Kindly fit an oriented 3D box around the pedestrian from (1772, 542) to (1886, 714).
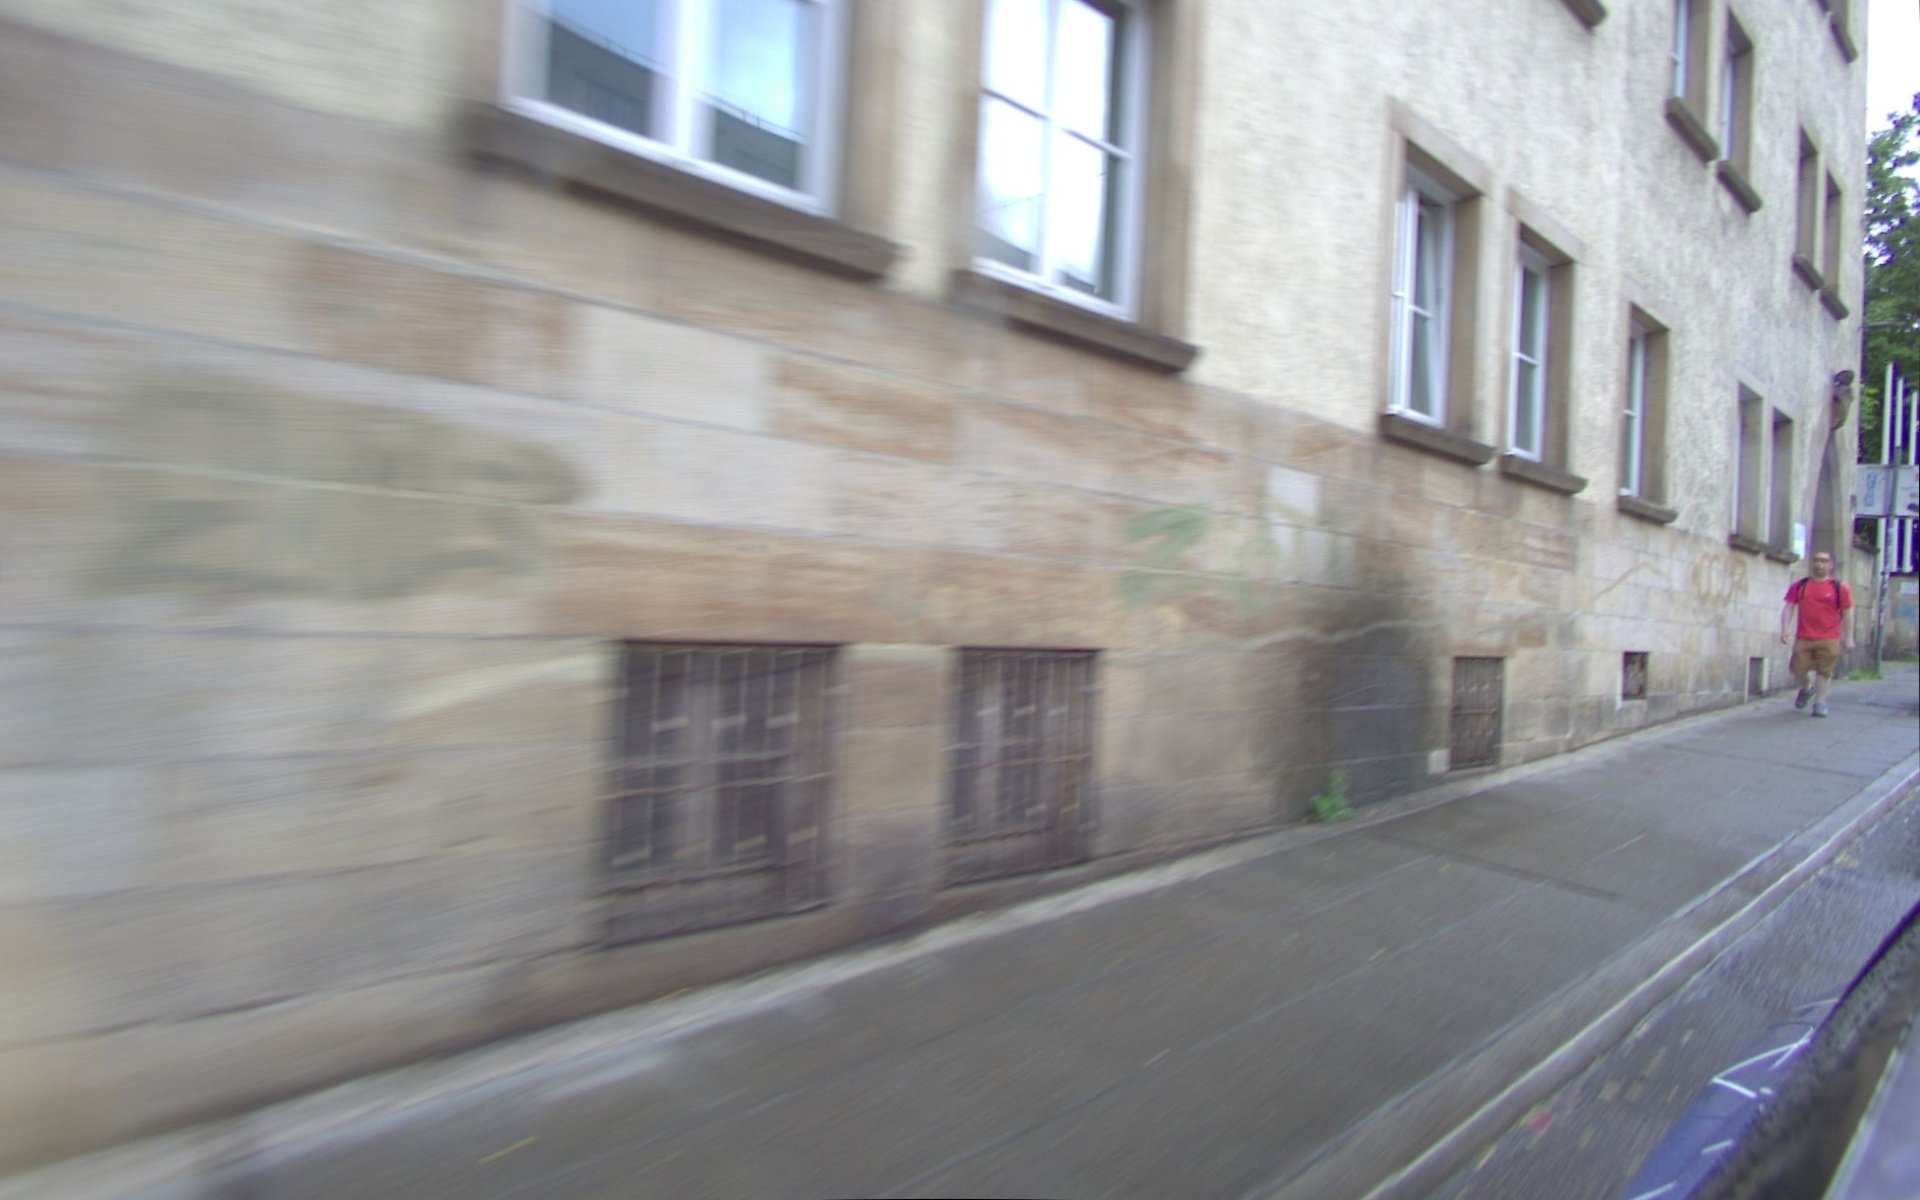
[{"bbox_3d":[9.542,0.275,11.119,0.804,1.785,0.748,-1,4,-40],"label":"pedestrian"}]
